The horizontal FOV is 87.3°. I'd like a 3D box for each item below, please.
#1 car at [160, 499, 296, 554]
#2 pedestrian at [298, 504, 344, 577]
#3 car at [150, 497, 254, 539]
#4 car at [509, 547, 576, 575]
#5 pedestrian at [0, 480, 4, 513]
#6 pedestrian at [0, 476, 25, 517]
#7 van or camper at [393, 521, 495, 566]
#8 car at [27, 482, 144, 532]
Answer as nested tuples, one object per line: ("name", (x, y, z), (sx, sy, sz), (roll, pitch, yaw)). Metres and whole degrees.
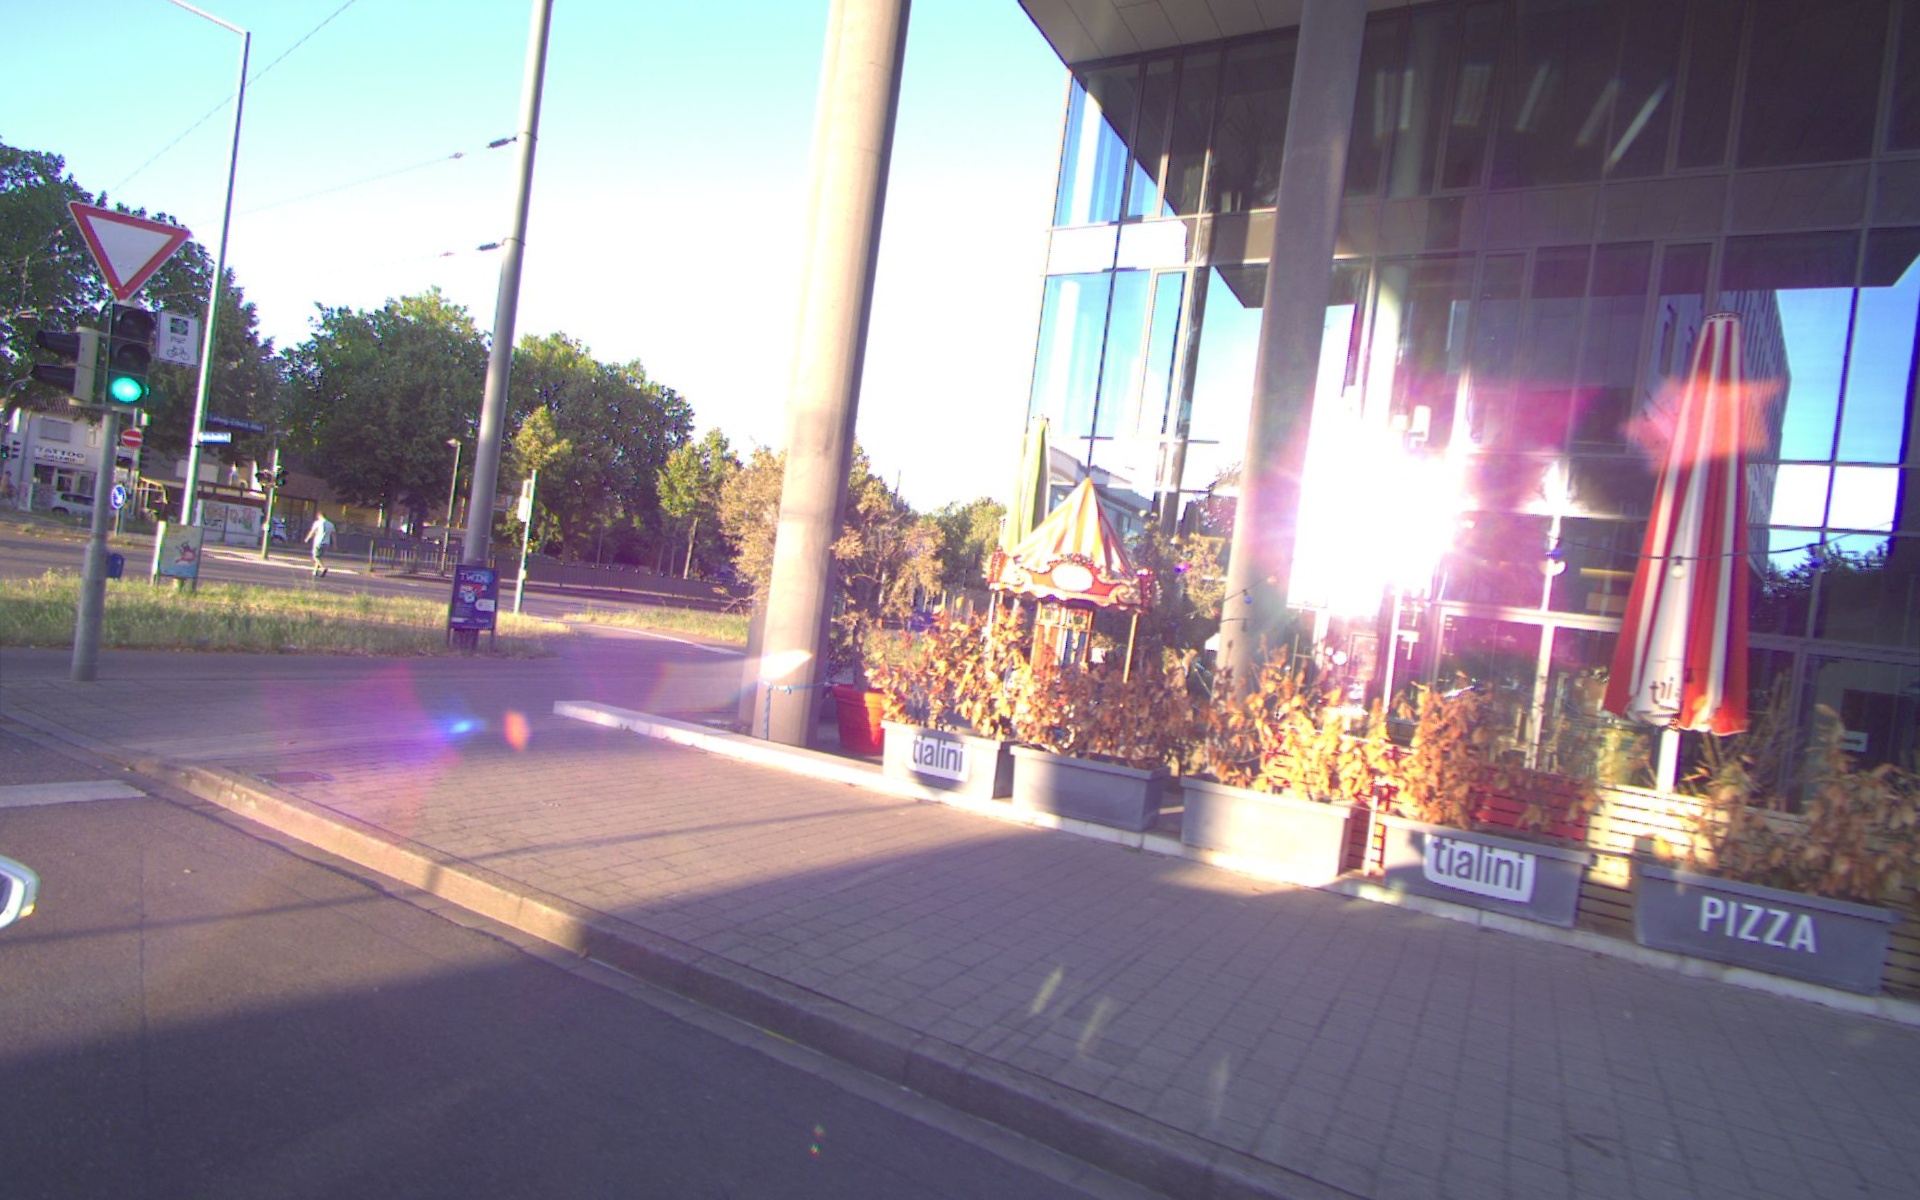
("car", (-33.368, -3.315, 45.999), (1.829, 1.748, 4.545), (7, -1, 28))
("pedestrian", (-17.193, -1.594, 27.083), (0.755, 1.812, 0.796), (8, 0, -28))
("car", (-43.398, -4.684, 57.675), (1.968, 1.596, 4.234), (7, -1, 34))
("car", (-31.884, -2.950, 76.948), (1.968, 1.482, 4.234), (7, -1, 34))
("pedestrian", (-46.253, -4.963, 47.938), (0.714, 1.659, 0.889), (7, 0, -34))
("pedestrian", (-44.866, -4.873, 47.553), (0.714, 1.775, 0.889), (7, 0, -34))
("van or camper", (-39.967, -4.349, 78.065), (2.229, 2.438, 6.567), (7, -1, 36))
("car", (-46.574, -4.923, 53.672), (1.968, 1.868, 4.234), (7, -1, 34))
